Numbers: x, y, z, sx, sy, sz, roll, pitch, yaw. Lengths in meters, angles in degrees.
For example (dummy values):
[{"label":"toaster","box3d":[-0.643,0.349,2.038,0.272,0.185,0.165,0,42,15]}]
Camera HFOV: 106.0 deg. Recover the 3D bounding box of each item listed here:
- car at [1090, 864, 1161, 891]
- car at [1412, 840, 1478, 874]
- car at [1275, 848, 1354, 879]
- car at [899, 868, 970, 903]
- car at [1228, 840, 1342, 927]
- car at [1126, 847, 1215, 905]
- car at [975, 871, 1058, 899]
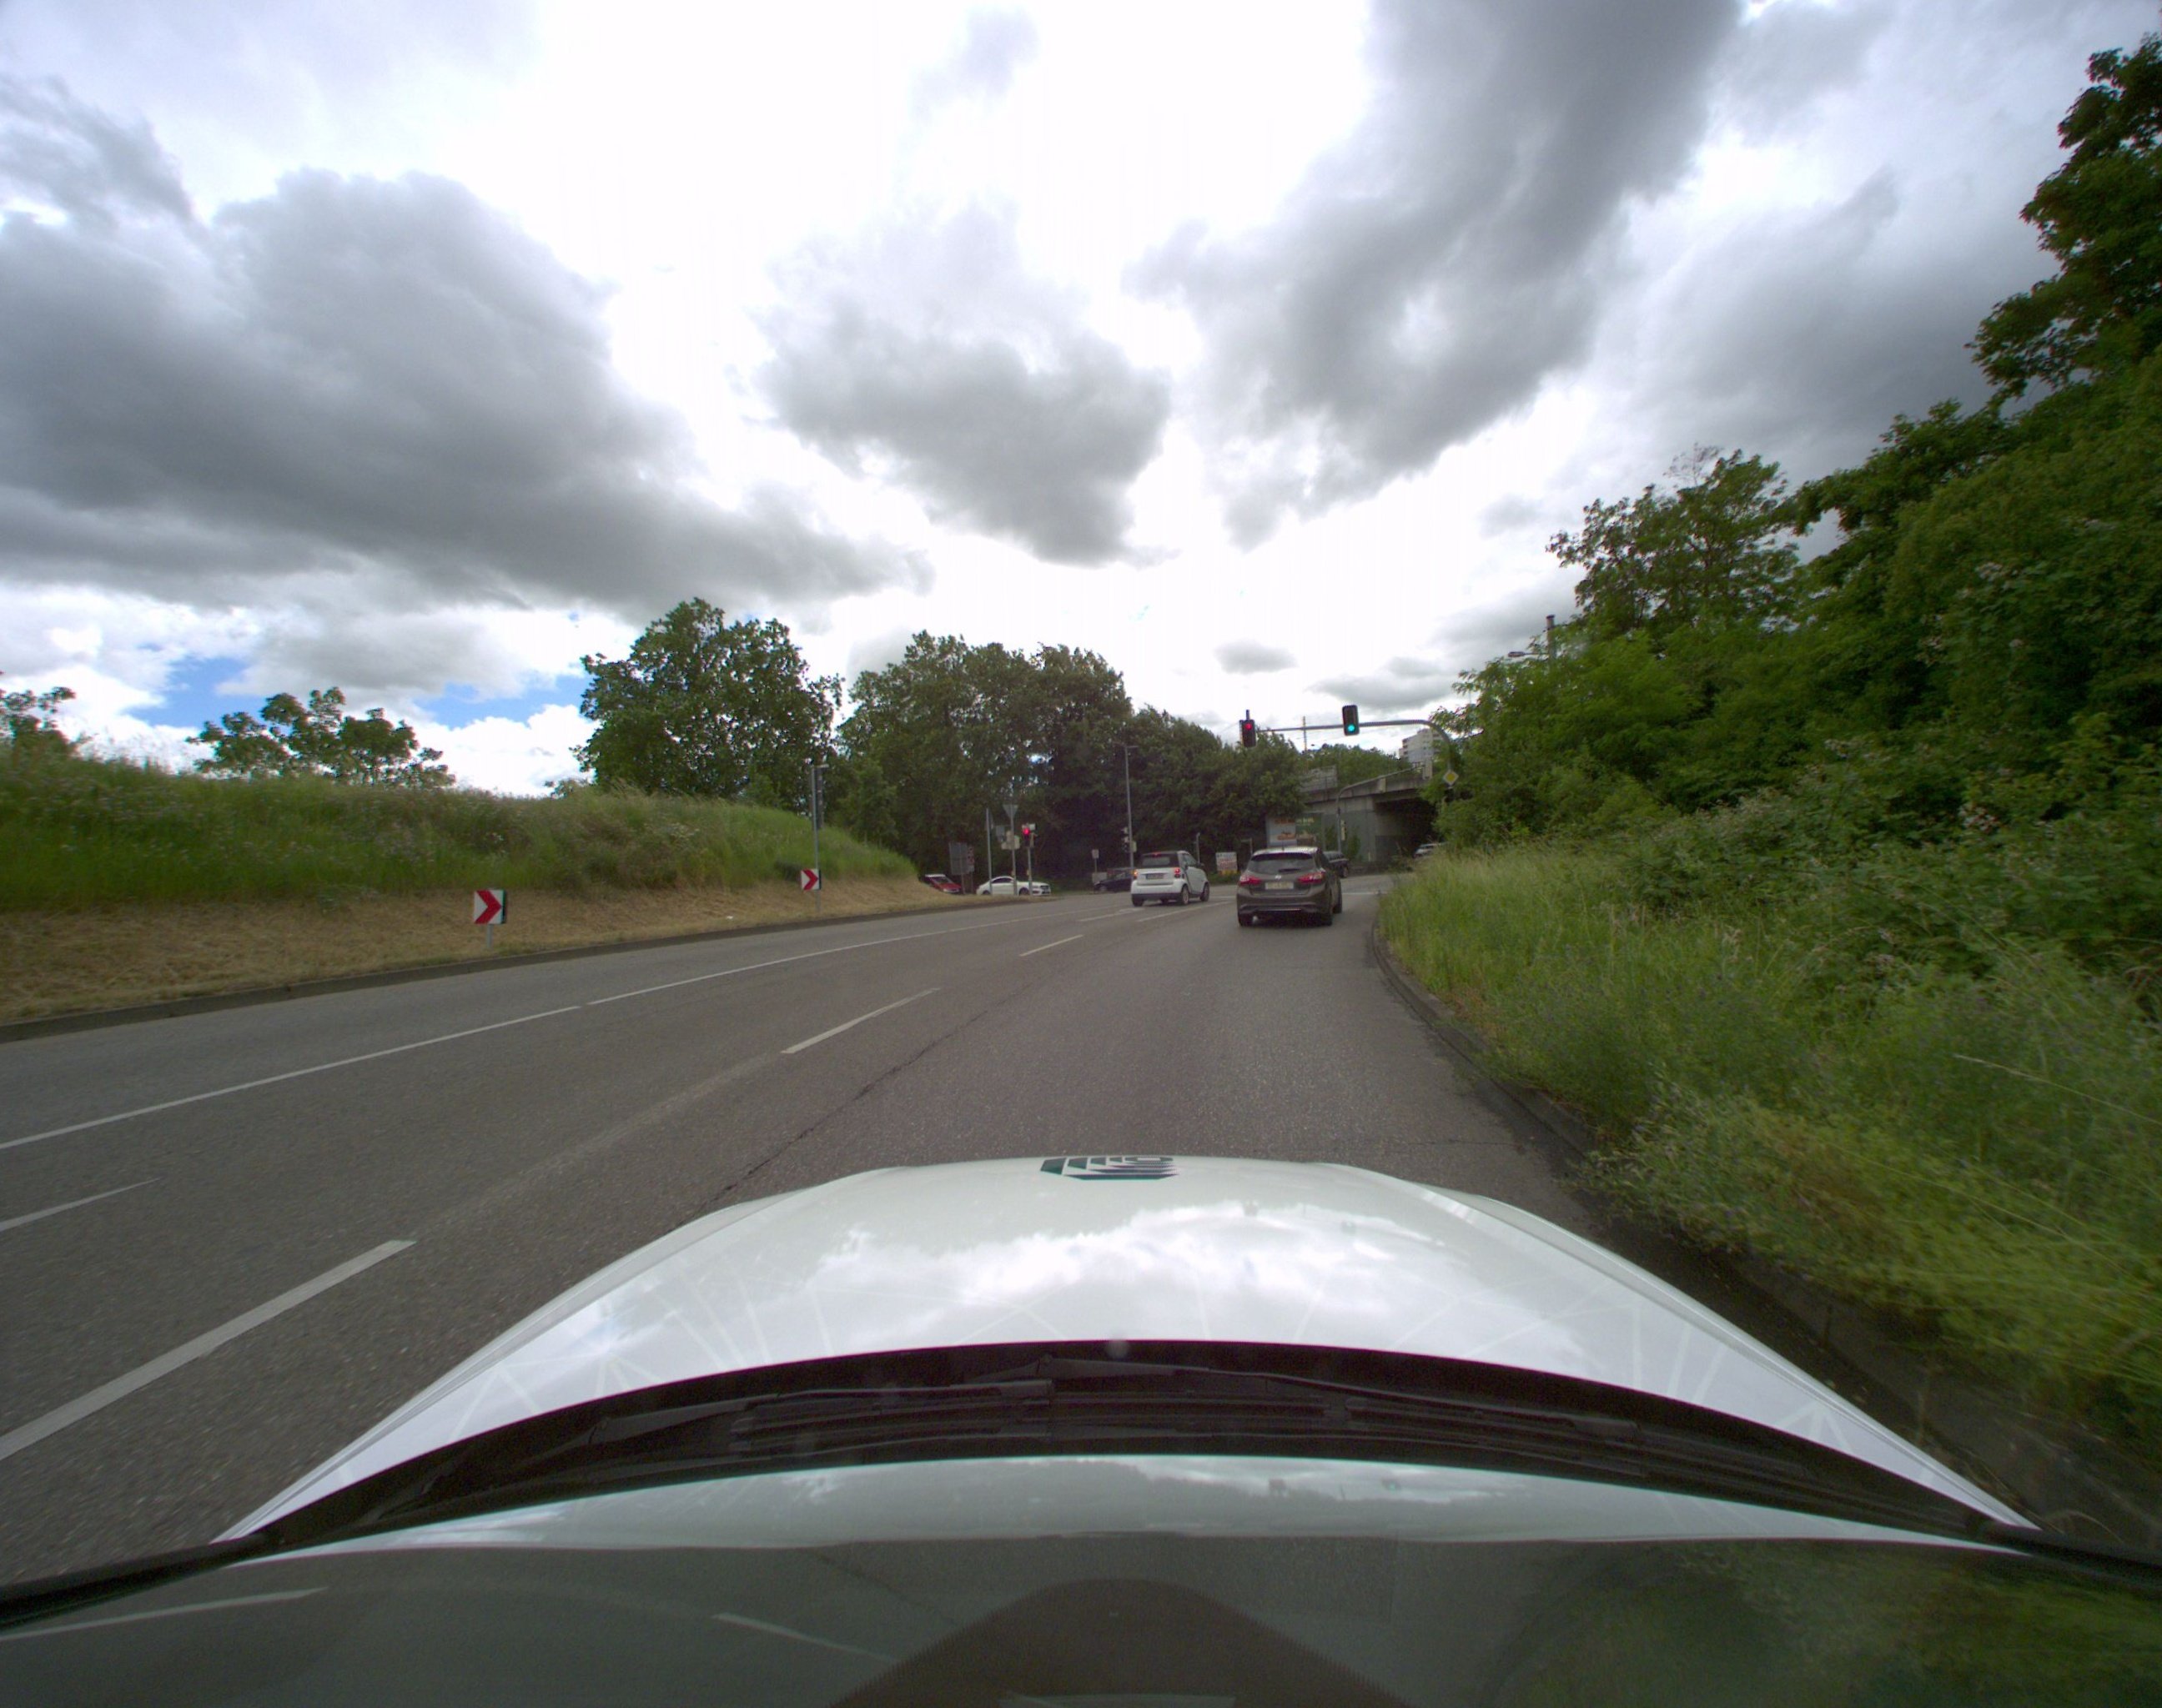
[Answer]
[{"label":"car","box3d":[2.738,1.446,49.635,3.996,1.451,1.862,-2,-3,15]},{"label":"car","box3d":[16.915,0.129,37.746,1.881,1.466,4.025,1,0,38]},{"label":"car","box3d":[12.208,0.476,42.370,4.445,1.420,1.749,-2,-1,-41]},{"label":"car","box3d":[-8.996,1.943,50.077,3.986,1.813,1.867,-5,-3,32]},{"label":"car","box3d":[4.350,0.527,16.912,1.829,1.493,4.020,-3,0,20]},{"label":"car","box3d":[2.672,0.593,23.868,1.560,1.557,3.035,-1,0,28]},{"label":"car","box3d":[-3.692,1.779,46.650,4.362,1.339,2.012,-5,-4,31]}]
